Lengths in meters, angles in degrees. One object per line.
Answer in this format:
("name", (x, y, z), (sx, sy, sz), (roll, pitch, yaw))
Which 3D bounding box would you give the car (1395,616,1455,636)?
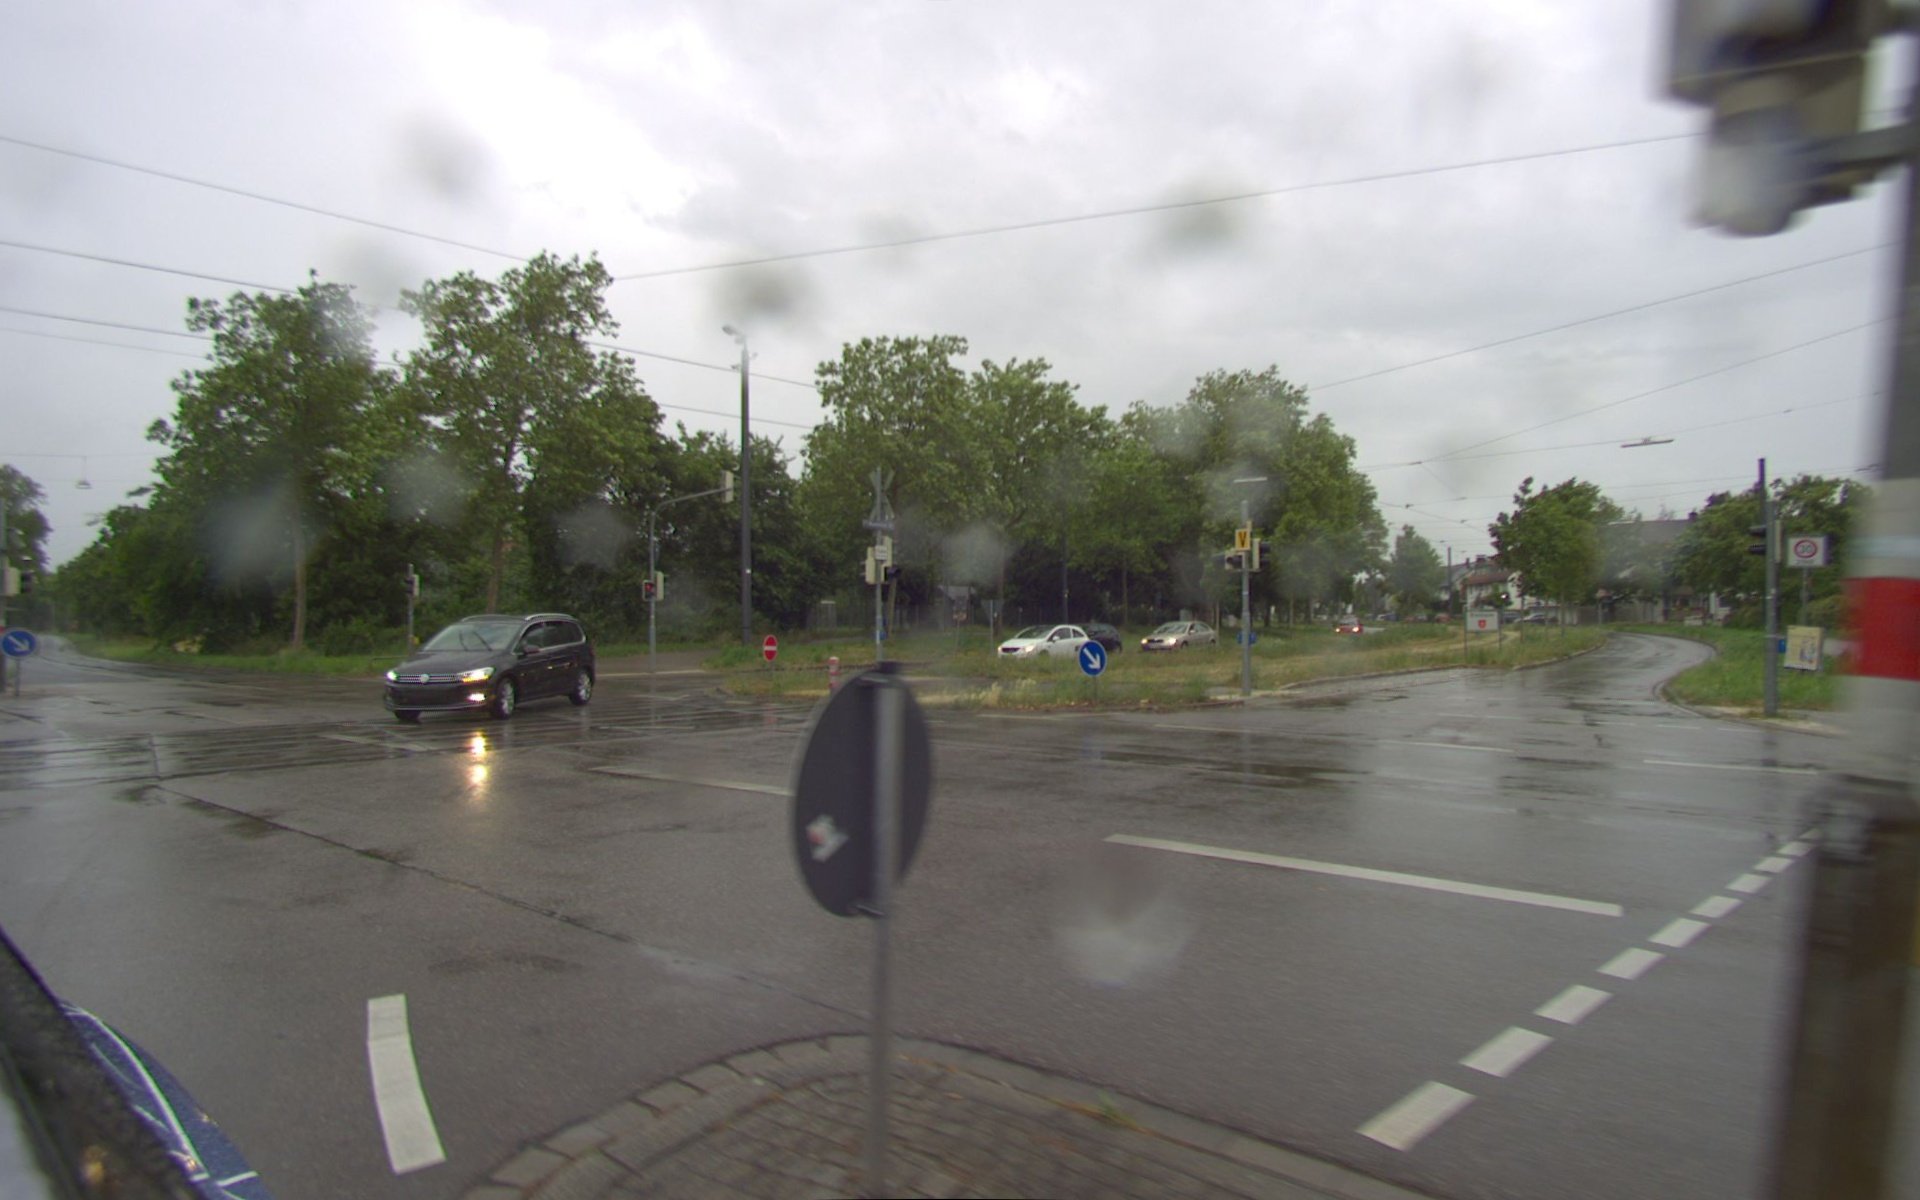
("car", (36.139, 2.020, 78.691), (4.032, 1.431, 1.657), (-3, -2, 33))

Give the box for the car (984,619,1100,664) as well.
("car", (2.807, 1.380, 34.229), (1.790, 1.374, 3.940), (-4, -3, 44))

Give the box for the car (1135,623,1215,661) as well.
("car", (8.776, 1.668, 41.083), (1.786, 1.414, 3.748), (-3, -2, 36))

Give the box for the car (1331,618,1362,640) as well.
("car", (26.096, 1.973, 68.233), (1.778, 1.391, 3.835), (-2, -2, 23))

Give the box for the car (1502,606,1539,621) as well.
("car", (75.478, 1.873, 136.321), (3.839, 1.815, 1.813), (-2, -3, 10))

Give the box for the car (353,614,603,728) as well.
("car", (-7.868, 1.115, 17.088), (1.843, 1.614, 4.519), (-2, -2, 4))
